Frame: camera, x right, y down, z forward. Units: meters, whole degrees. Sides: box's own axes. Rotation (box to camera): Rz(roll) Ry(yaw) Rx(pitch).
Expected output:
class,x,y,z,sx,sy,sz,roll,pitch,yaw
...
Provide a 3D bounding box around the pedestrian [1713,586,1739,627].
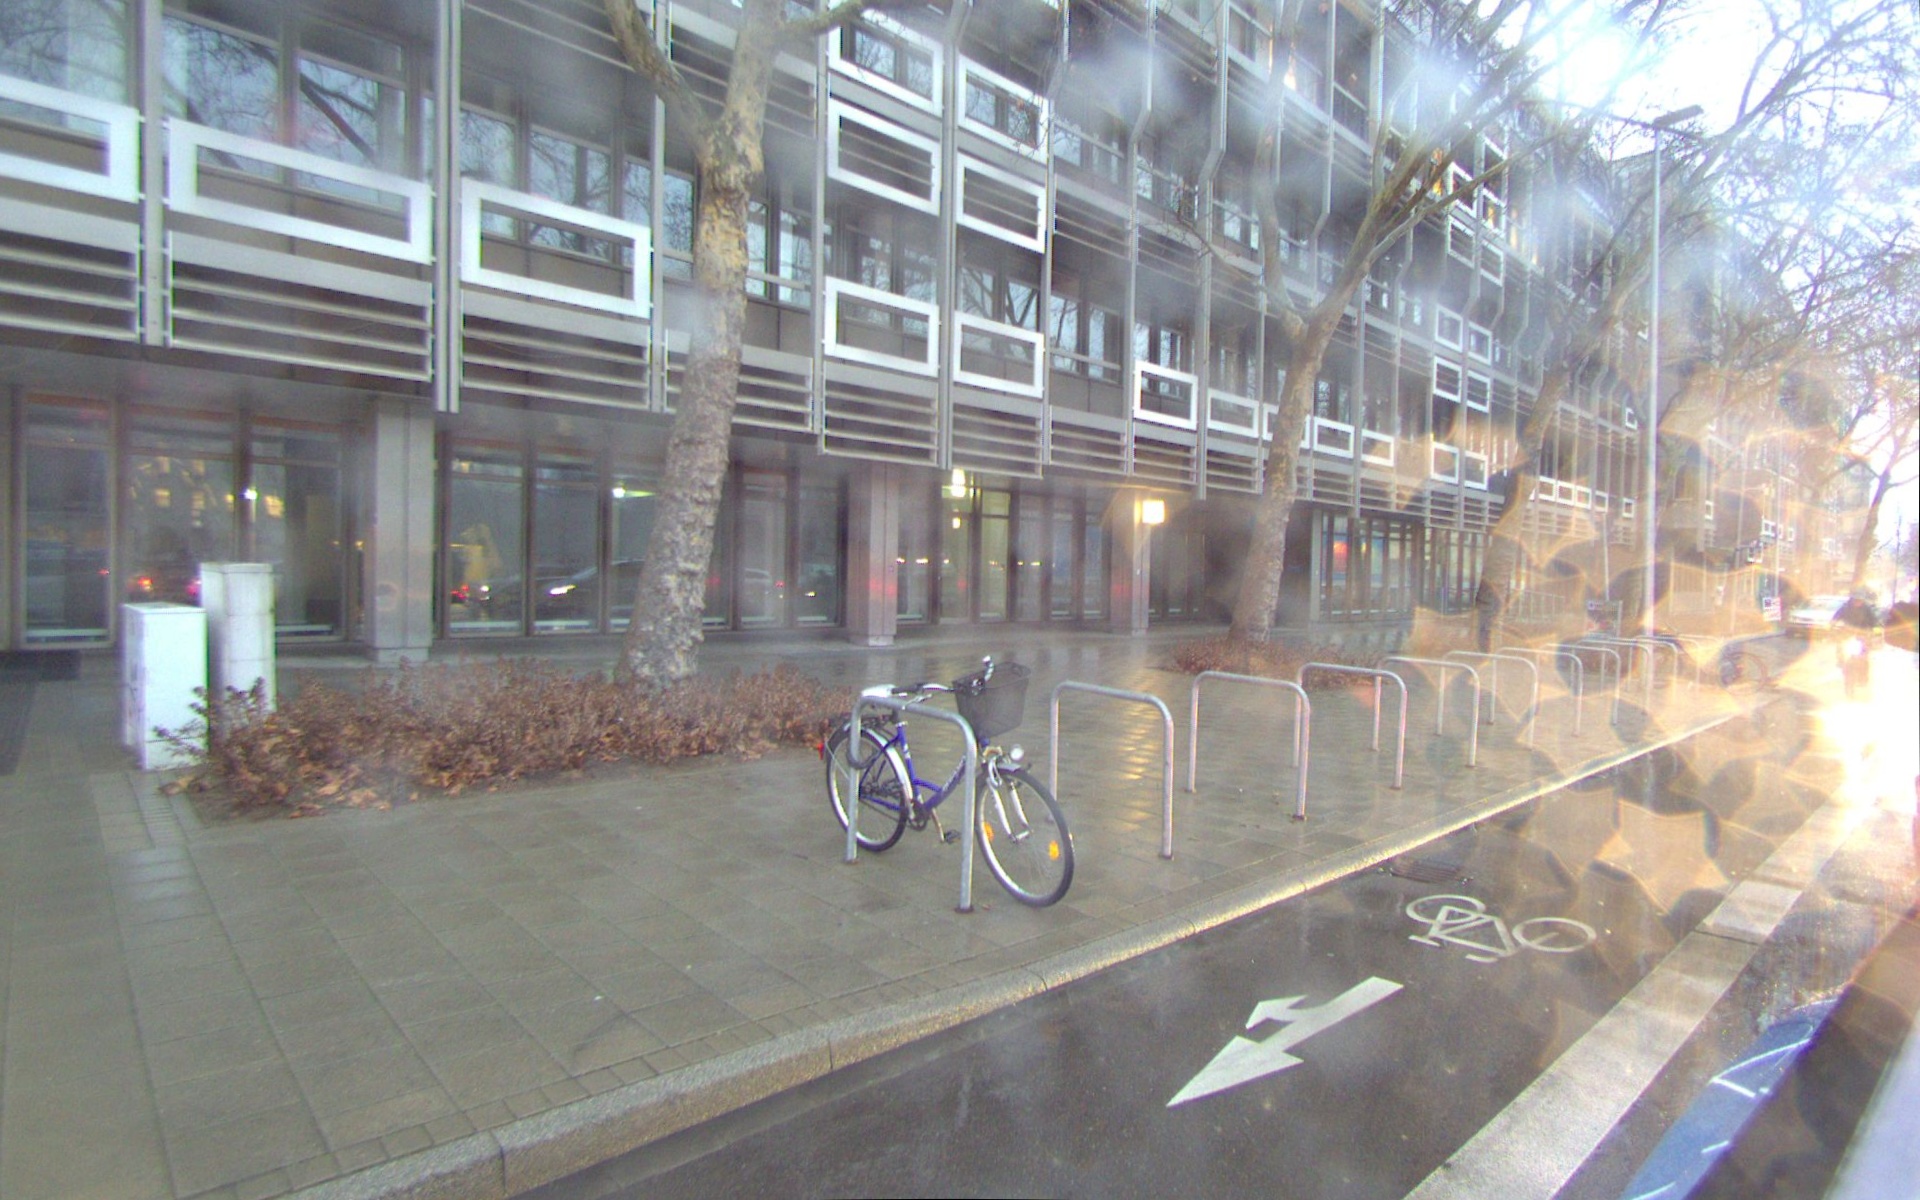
class,x,y,z,sx,sy,sz,roll,pitch,yaw
pedestrian,33.658,0.269,44.489,0.765,1.771,0.913,2,2,45

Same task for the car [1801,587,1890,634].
class,x,y,z,sx,sy,sz,roll,pitch,yaw
car,29.524,0.301,33.718,3.930,1.482,1.711,-1,1,-41

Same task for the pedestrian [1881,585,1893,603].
class,x,y,z,sx,sy,sz,roll,pitch,yaw
pedestrian,92.255,-0.582,100.716,0.765,1.771,0.913,2,2,45

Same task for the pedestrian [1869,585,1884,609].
class,x,y,z,sx,sy,sz,roll,pitch,yaw
pedestrian,69.362,-0.227,76.587,0.765,1.771,0.913,2,2,45

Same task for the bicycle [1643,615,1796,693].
class,x,y,z,sx,sy,sz,roll,pitch,yaw
bicycle,11.697,0.797,15.619,0.864,1.004,1.704,0,4,-41

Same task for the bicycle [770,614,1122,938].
class,x,y,z,sx,sy,sz,roll,pitch,yaw
bicycle,-0.151,0.709,4.869,0.629,1.145,1.810,2,2,-41

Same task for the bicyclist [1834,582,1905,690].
class,x,y,z,sx,sy,sz,roll,pitch,yaw
bicyclist,14.660,0.559,16.315,0.947,1.681,0.704,1,1,-41

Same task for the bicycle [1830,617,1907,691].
class,x,y,z,sx,sy,sz,roll,pitch,yaw
bicycle,14.664,0.842,16.322,1.752,1.108,0.709,1,0,-41

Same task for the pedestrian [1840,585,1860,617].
class,x,y,z,sx,sy,sz,roll,pitch,yaw
pedestrian,50.724,0.041,57.693,0.765,1.771,0.913,2,2,45

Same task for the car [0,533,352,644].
class,x,y,z,sx,sy,sz,roll,pitch,yaw
car,-10.797,-0.199,13.934,3.929,1.326,1.998,0,3,-40

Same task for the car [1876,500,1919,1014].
class,x,y,z,sx,sy,sz,roll,pitch,yaw
car,5.480,0.553,4.386,3.932,1.864,1.875,-1,0,-42
